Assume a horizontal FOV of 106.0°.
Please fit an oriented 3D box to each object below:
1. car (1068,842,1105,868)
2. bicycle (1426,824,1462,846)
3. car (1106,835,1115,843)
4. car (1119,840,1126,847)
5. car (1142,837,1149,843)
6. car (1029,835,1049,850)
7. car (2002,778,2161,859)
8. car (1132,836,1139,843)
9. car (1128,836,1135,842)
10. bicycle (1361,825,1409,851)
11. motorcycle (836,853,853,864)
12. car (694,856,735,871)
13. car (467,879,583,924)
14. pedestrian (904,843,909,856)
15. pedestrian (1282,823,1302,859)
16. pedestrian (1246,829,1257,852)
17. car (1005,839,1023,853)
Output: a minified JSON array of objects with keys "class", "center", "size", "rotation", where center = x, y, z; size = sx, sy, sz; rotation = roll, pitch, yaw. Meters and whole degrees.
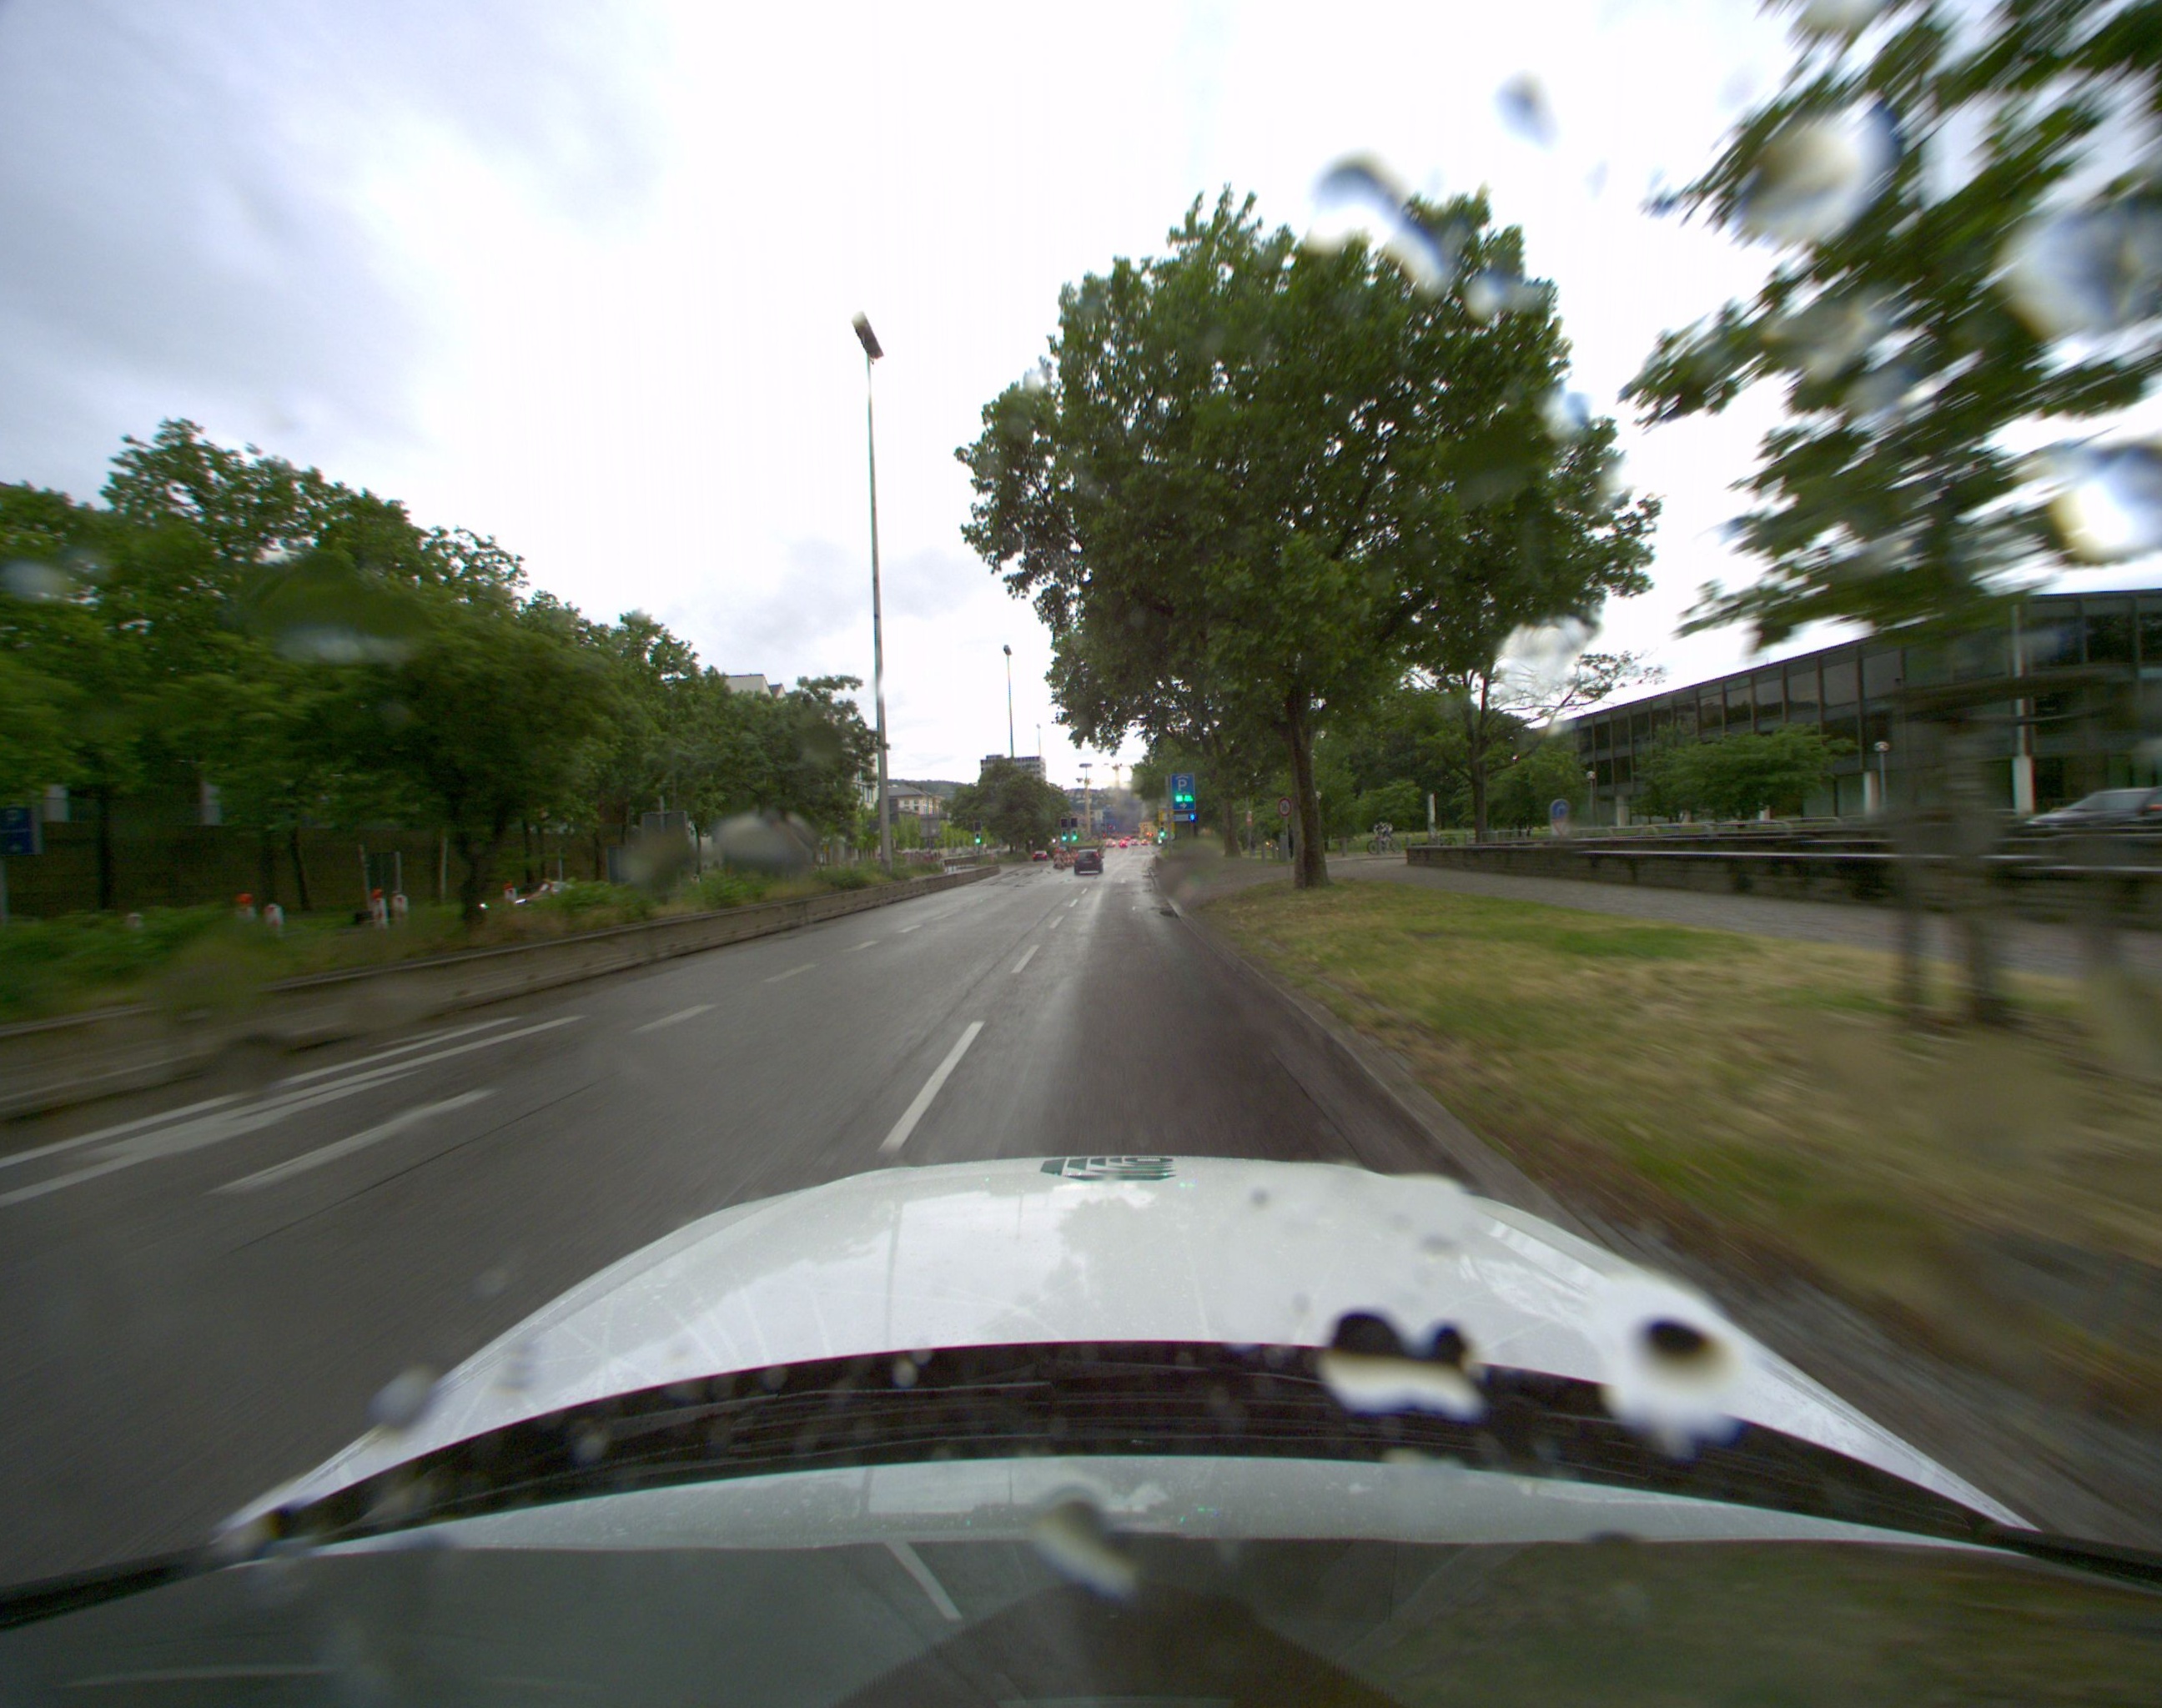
[{"class":"car","center":[0.271,0.070,49.191],"size":[1.841,1.416,3.833],"rotation":[-4,0,-4]},{"class":"bicycle","center":[19.861,-1.055,44.608],"size":[1.638,1.085,0.709],"rotation":[-3,2,-4]},{"class":"car","center":[8.358,-4.312,229.226],"size":[2.207,2.013,4.011],"rotation":[0,4,8]},{"class":"car","center":[10.945,-2.736,215.158],"size":[1.731,1.771,4.005],"rotation":[-4,0,4]},{"class":"car","center":[19.712,-4.346,247.572],"size":[1.984,1.599,4.006],"rotation":[-4,0,5]},{"class":"car","center":[-5.396,-1.535,104.931],"size":[1.985,1.780,4.004],"rotation":[-3,1,4]},{"class":"car","center":[23.425,-0.841,18.050],"size":[3.970,1.600,1.658],"rotation":[-4,1,3]},{"class":"car","center":[16.310,-4.298,245.260],"size":[1.979,2.013,4.004],"rotation":[-3,1,3]},{"class":"car","center":[15.537,-4.754,250.896],"size":[1.704,1.690,3.855],"rotation":[-4,0,5]},{"class":"bicycle","center":[15.342,-0.804,41.148],"size":[2.033,1.173,0.957],"rotation":[-3,1,-8]},{"class":"motorcycle","center":[-29.014,0.550,99.968],"size":[1.843,1.154,0.423],"rotation":[-4,1,-25]},{"class":"car","center":[-44.528,1.187,98.950],"size":[3.974,1.596,2.000],"rotation":[-3,1,0]},{"class":"car","center":[-23.588,1.979,34.749],"size":[1.985,1.530,4.003],"rotation":[-4,0,3]},{"class":"pedestrian","center":[-28.538,-0.778,133.413],"size":[0.543,2.013,0.525],"rotation":[-4,1,-33]},{"class":"pedestrian","center":[10.294,-0.643,39.772],"size":[0.702,1.718,0.693],"rotation":[-4,1,3]},{"class":"pedestrian","center":[13.614,-1.100,64.911],"size":[0.592,1.755,0.725],"rotation":[-4,1,0]},{"class":"car","center":[-8.365,-0.983,102.355],"size":[1.988,1.632,3.997],"rotation":[-2,1,-2]}]
